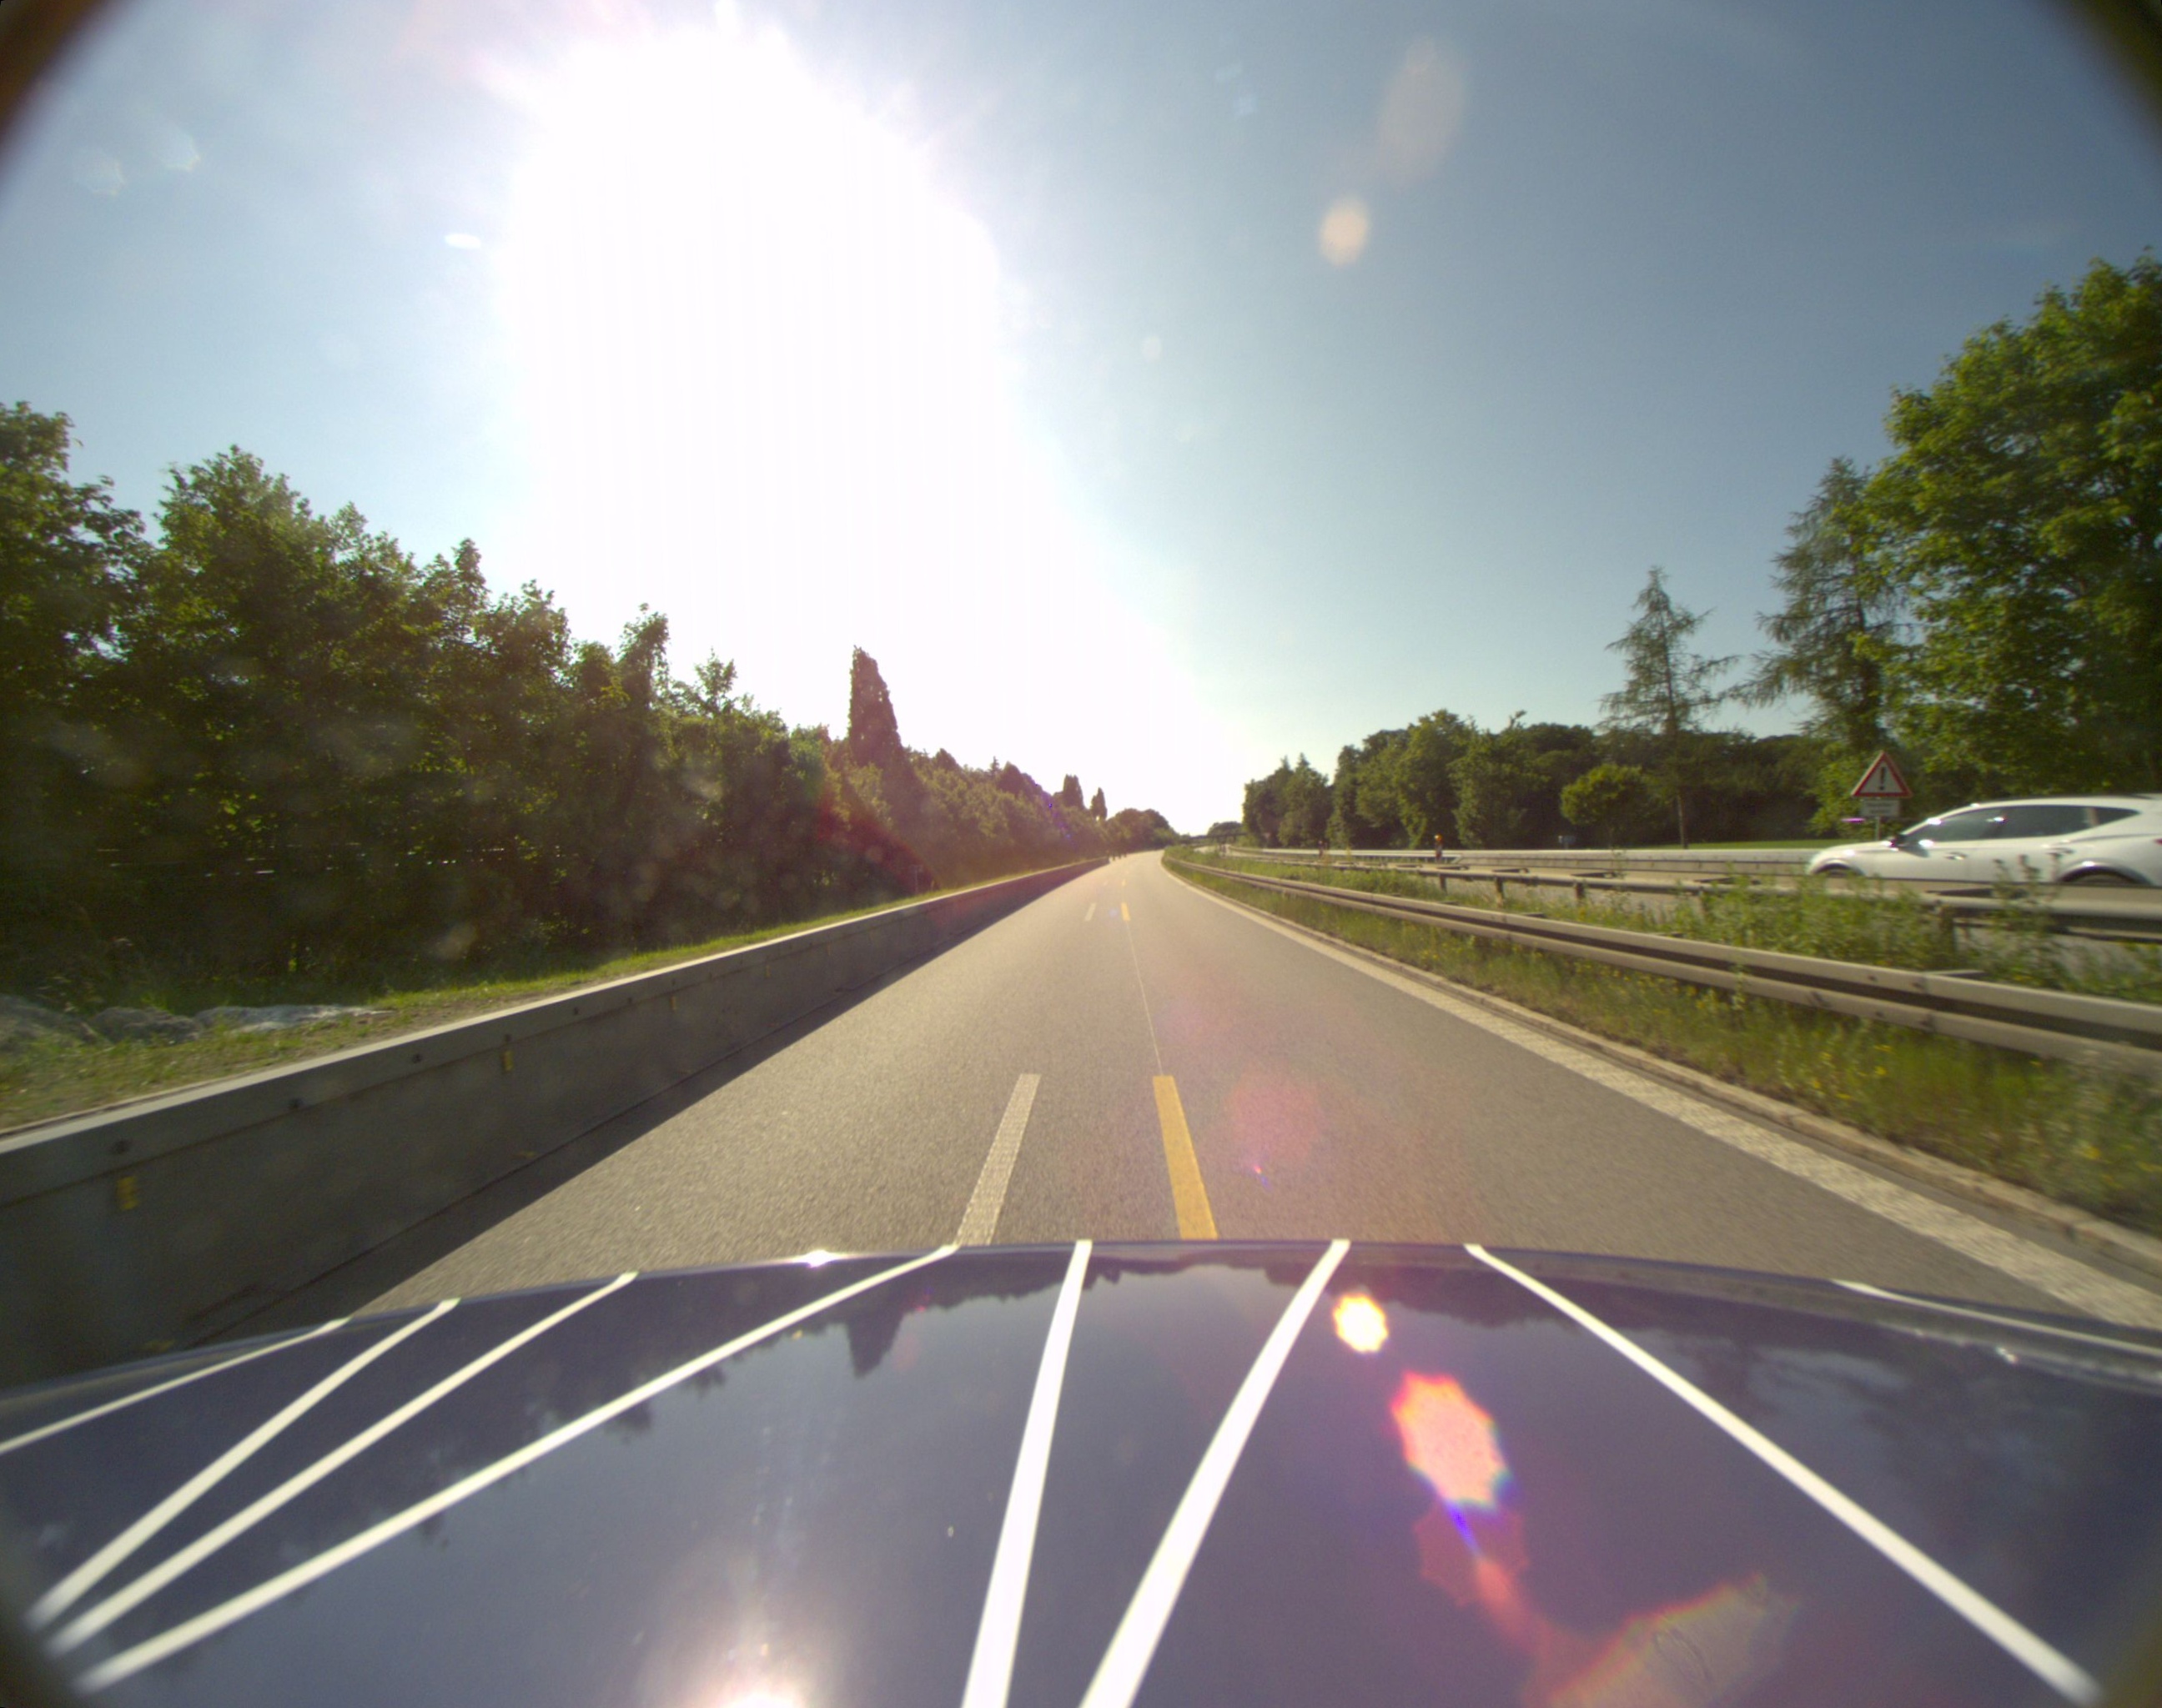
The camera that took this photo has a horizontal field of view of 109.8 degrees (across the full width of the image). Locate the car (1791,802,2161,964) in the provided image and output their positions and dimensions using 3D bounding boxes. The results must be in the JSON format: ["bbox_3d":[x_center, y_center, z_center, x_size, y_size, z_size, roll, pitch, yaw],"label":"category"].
[{"bbox_3d":[10.928,0.224,8.518,1.764,1.503,4.534,-2,1,1],"label":"car"}]
